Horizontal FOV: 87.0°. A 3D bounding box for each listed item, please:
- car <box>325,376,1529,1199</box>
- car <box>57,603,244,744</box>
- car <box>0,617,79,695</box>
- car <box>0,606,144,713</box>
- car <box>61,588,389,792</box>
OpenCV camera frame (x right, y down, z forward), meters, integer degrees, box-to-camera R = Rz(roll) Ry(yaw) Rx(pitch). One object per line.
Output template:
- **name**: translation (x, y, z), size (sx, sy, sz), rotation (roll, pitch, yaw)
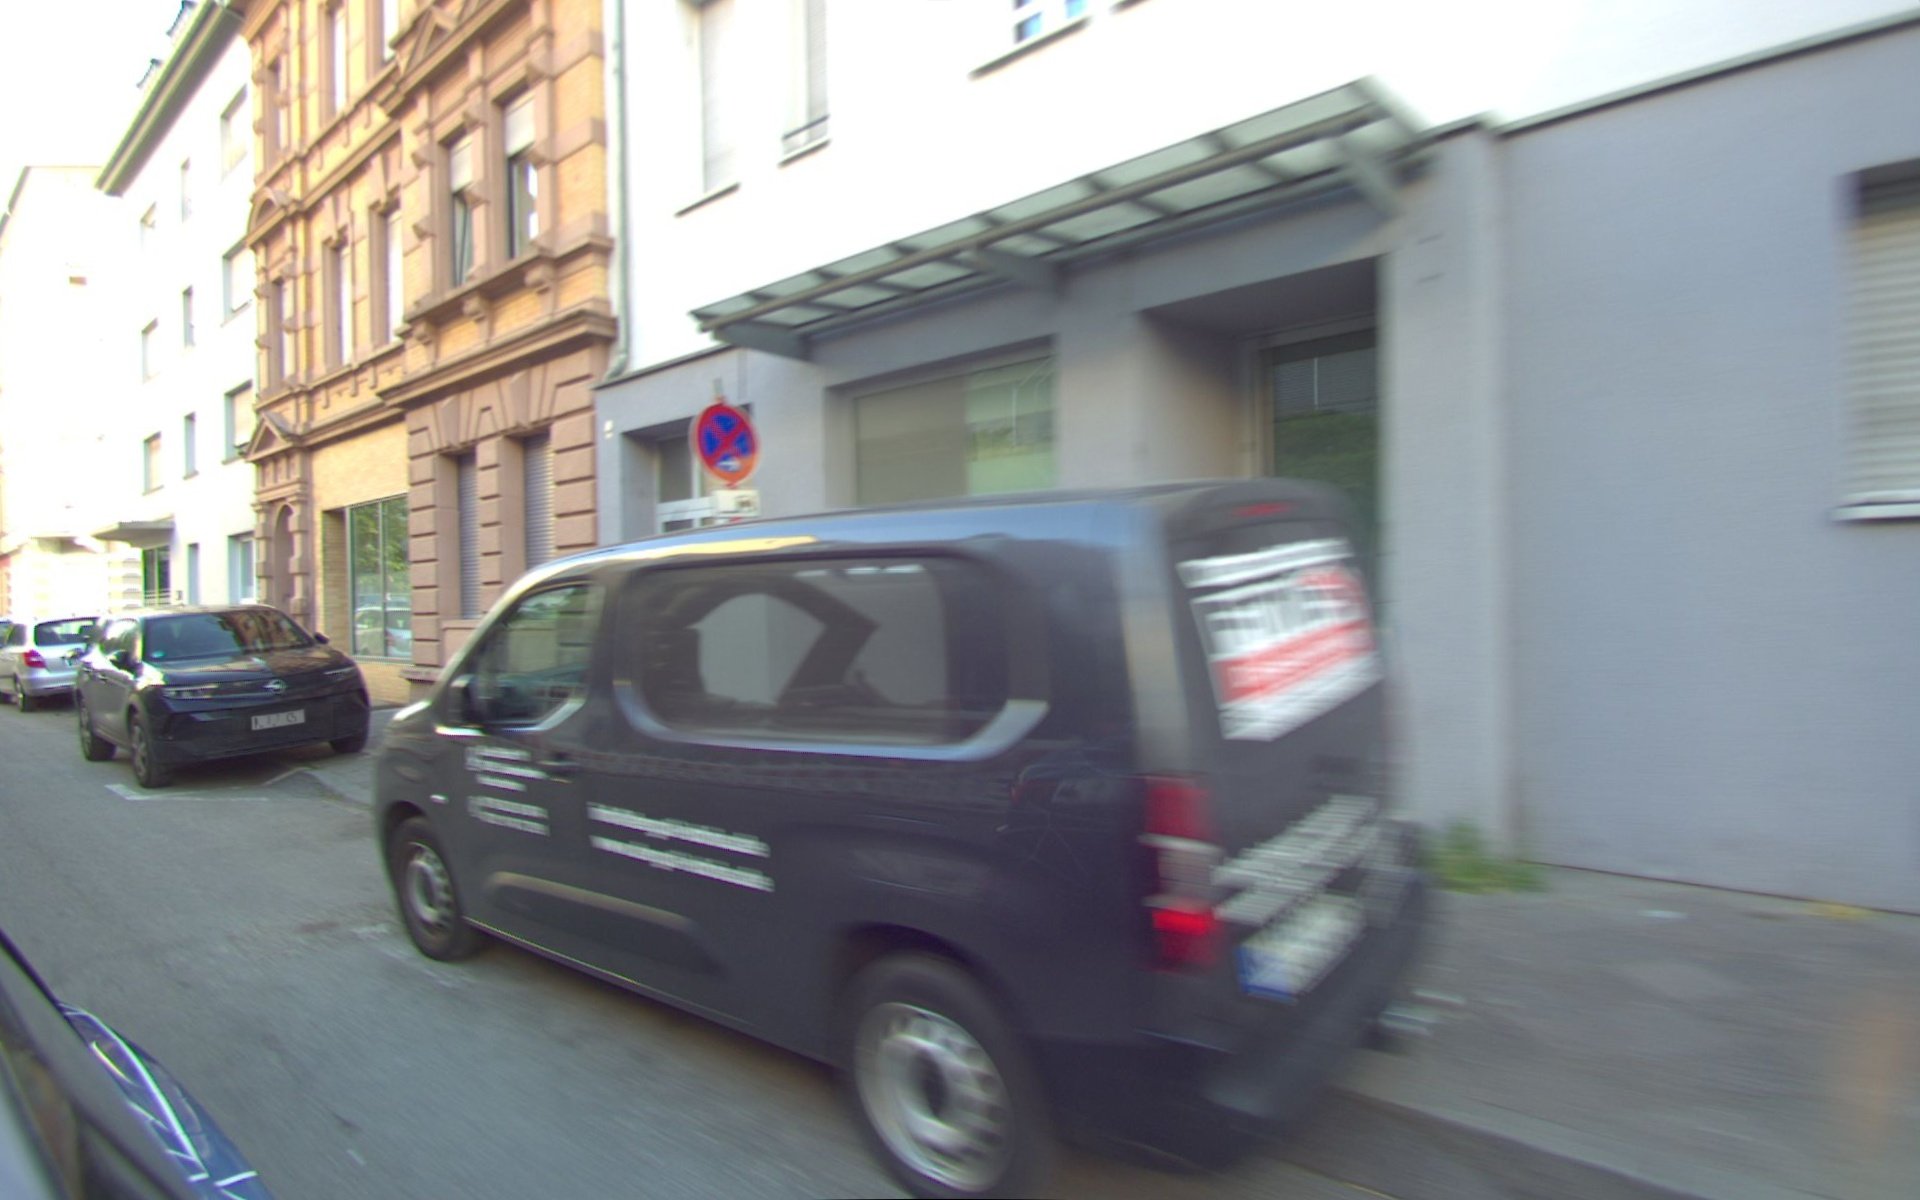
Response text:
- **car**: translation (-0.552, 0.580, 3.996), size (4.581, 1.872, 1.974), rotation (-2, 0, 40)
- **car**: translation (-10.399, 0.864, 12.956), size (2.792, 1.600, 1.381), rotation (-1, -1, 41)
- **car**: translation (-19.176, 1.104, 20.363), size (3.552, 1.441, 1.616), rotation (-2, 0, 40)
- **car**: translation (-15.131, 0.945, 16.976), size (3.595, 1.519, 1.540), rotation (-2, 2, 40)
- **car**: translation (-7.367, 0.751, 10.003), size (4.012, 1.611, 1.722), rotation (-2, 0, 41)
